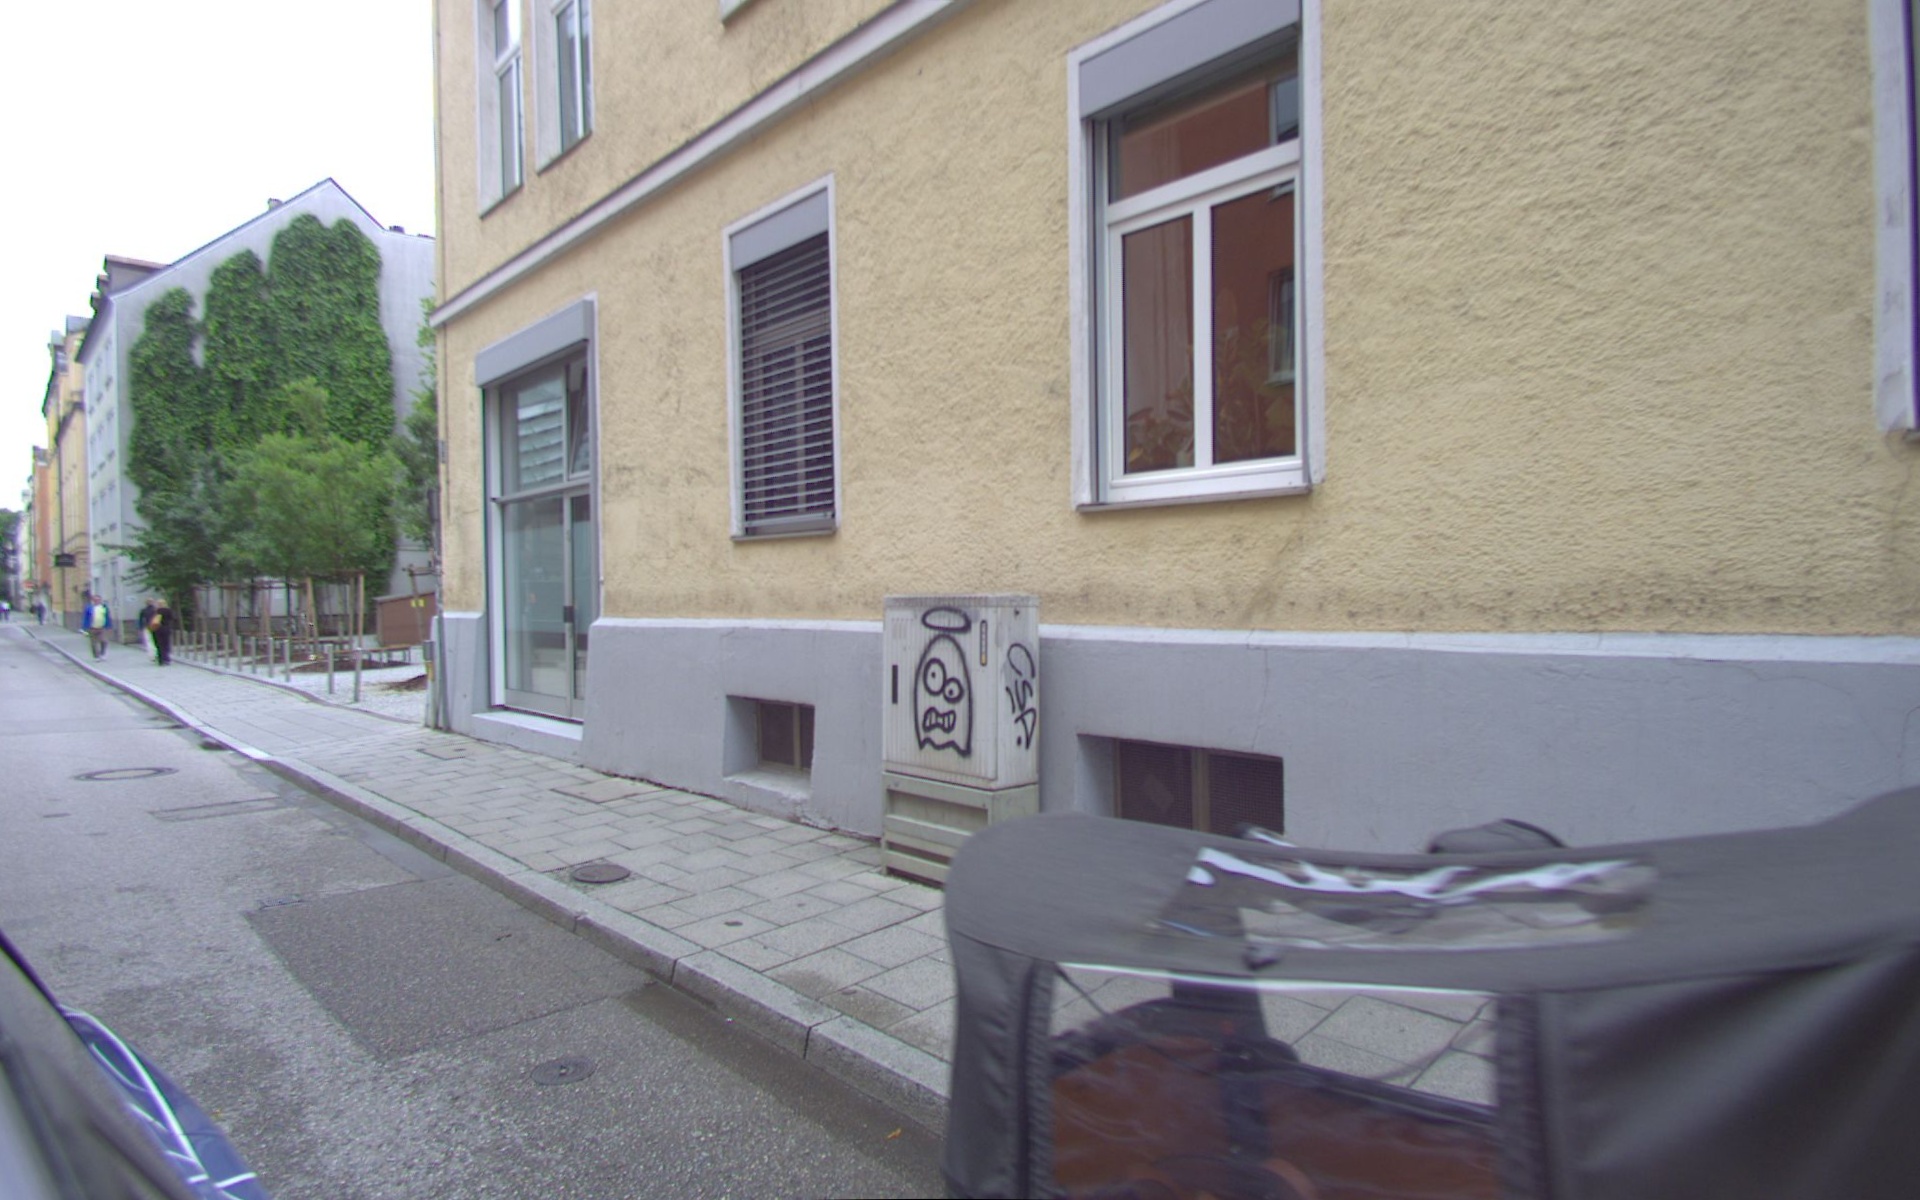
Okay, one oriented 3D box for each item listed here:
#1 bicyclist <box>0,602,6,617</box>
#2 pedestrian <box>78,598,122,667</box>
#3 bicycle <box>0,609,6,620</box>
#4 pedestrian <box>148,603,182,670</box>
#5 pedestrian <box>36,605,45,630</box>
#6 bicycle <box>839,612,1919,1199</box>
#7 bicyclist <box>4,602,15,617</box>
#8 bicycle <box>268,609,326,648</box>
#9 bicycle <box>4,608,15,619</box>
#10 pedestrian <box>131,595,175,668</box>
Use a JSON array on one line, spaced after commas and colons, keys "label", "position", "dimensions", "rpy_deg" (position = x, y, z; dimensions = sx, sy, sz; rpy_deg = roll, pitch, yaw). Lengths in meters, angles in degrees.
[{"label": "bicyclist", "position": [-87.546, 0.866, 92.336], "dimensions": [0.769, 1.418, 0.691], "rpy_deg": [-1, 1, 45]}, {"label": "pedestrian", "position": [-24.250, 0.896, 28.535], "dimensions": [0.848, 1.858, 0.975], "rpy_deg": [-3, 1, -43]}, {"label": "bicycle", "position": [-87.604, 1.298, 92.395], "dimensions": [0.690, 0.990, 1.950], "rpy_deg": [-2, 1, -45]}, {"label": "pedestrian", "position": [-20.212, 0.909, 25.730], "dimensions": [0.546, 1.672, 0.998], "rpy_deg": [-1, 0, -44]}, {"label": "pedestrian", "position": [-68.615, 1.273, 75.503], "dimensions": [0.486, 1.838, 0.553], "rpy_deg": [-1, 0, -45]}, {"label": "bicycle", "position": [1.030, 0.655, 0.670], "dimensions": [0.921, 1.267, 2.415], "rpy_deg": [0, 0, -45]}, {"label": "bicyclist", "position": [-88.862, 0.883, 94.594], "dimensions": [0.966, 1.418, 0.708], "rpy_deg": [-1, 1, 45]}, {"label": "bicycle", "position": [-22.126, 0.944, 33.756], "dimensions": [1.989, 1.217, 0.707], "rpy_deg": [-1, 2, 28]}, {"label": "bicycle", "position": [-88.872, 1.254, 94.602], "dimensions": [0.690, 0.938, 1.695], "rpy_deg": [-2, 1, -45]}, {"label": "pedestrian", "position": [-21.078, 0.817, 26.430], "dimensions": [0.767, 1.850, 0.992], "rpy_deg": [-1, 1, -45]}]
